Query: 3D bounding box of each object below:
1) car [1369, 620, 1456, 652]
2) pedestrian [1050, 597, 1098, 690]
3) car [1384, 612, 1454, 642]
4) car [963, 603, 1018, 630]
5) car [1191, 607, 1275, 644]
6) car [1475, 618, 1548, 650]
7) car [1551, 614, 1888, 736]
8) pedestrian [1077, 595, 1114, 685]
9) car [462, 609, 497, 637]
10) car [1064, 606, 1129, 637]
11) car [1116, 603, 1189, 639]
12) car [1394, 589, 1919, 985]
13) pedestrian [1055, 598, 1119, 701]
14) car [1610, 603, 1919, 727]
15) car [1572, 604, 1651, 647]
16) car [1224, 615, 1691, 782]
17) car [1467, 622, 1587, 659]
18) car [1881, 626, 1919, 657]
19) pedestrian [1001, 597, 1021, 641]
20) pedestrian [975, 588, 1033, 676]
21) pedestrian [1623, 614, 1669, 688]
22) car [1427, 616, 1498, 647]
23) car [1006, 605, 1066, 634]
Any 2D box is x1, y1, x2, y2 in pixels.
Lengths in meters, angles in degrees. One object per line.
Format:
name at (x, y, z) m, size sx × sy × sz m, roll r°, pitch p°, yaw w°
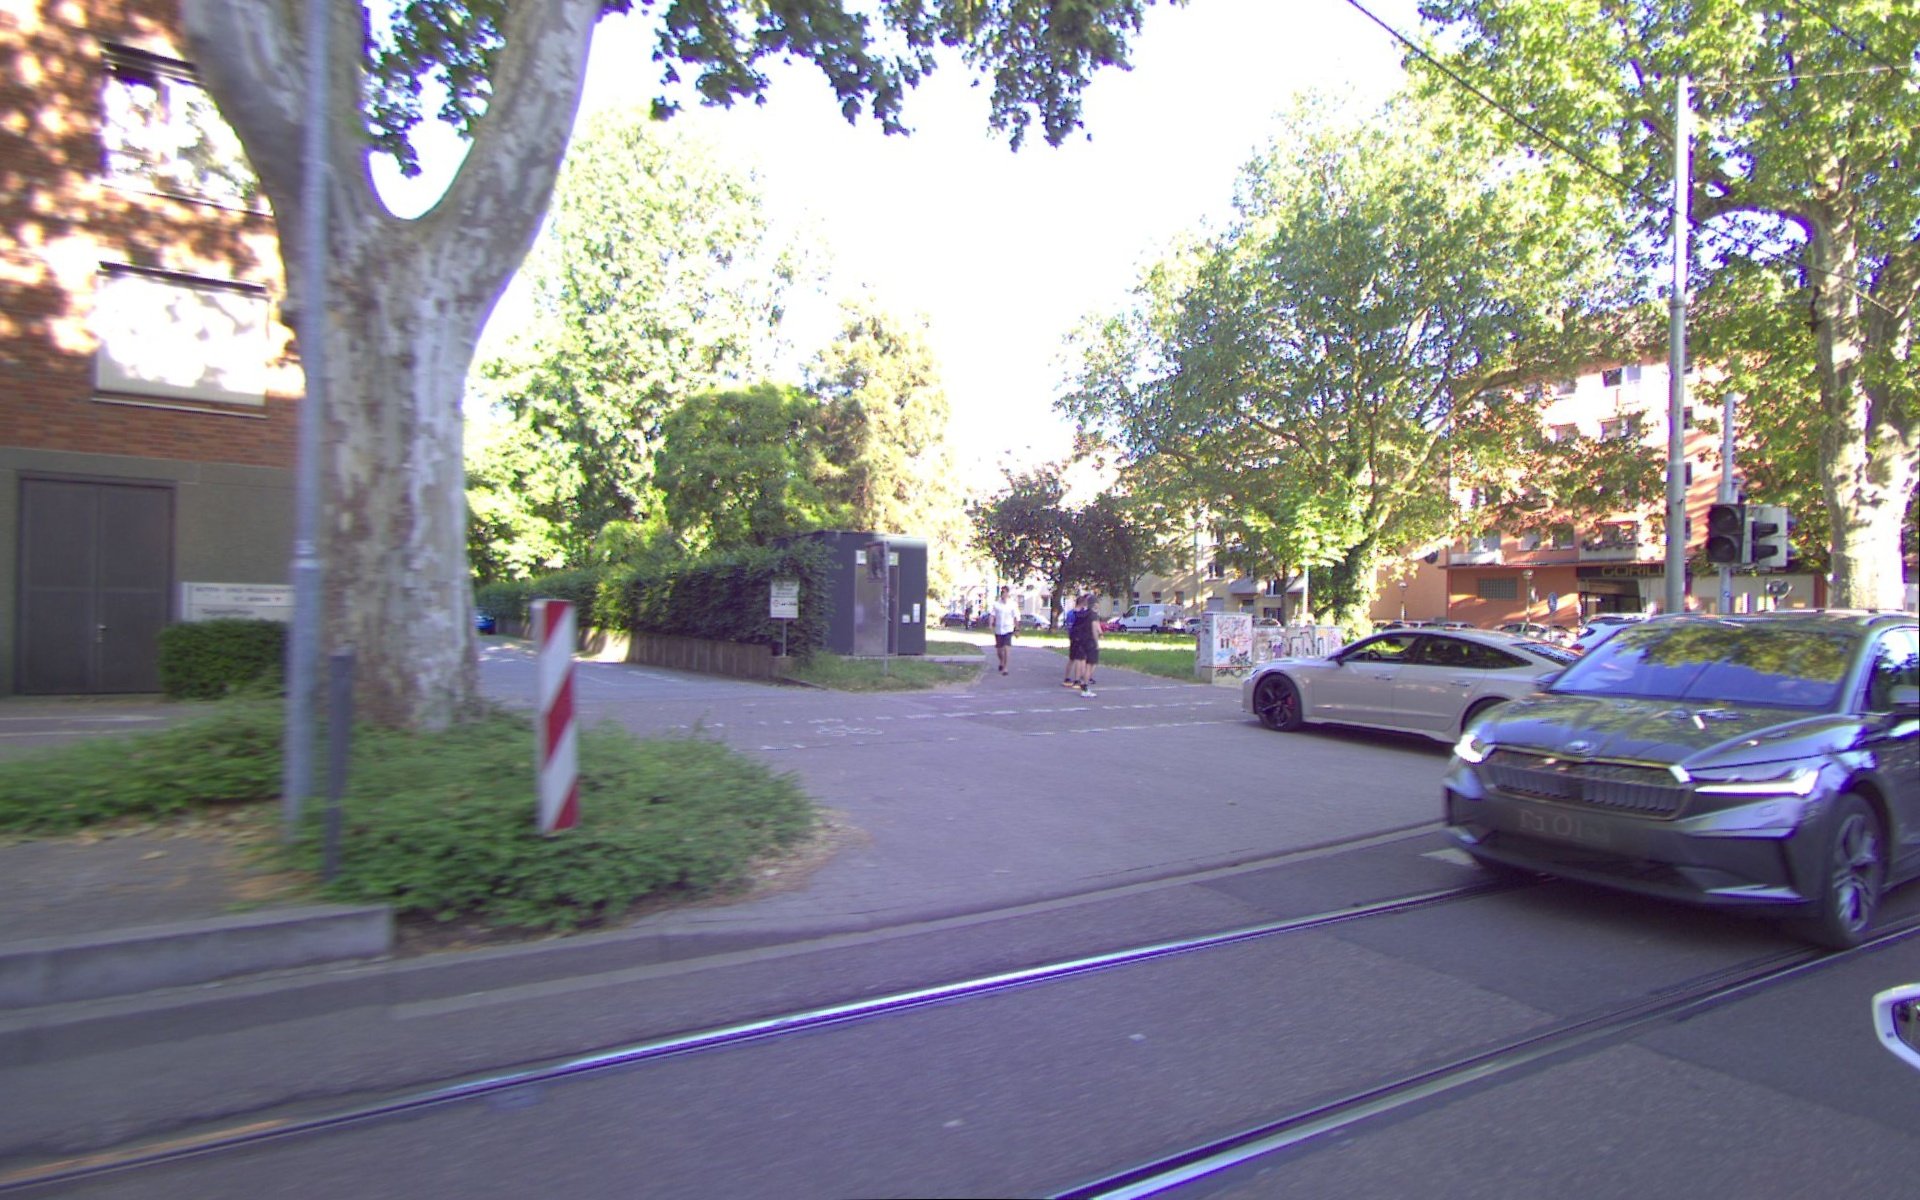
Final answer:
car at (22.879, 1.789, 50.901) m, size 1.672 × 1.469 × 3.682 m, roll 2°, pitch 0°, yaw -35°
pedestrian at (2.134, 0.799, 18.792) m, size 0.684 × 1.681 × 0.561 m, roll 2°, pitch 0°, yaw 33°
car at (27.026, 1.593, 59.126) m, size 4.445 × 1.639 × 1.929 m, roll 2°, pitch 0°, yaw -39°
car at (2.469, 1.349, 82.178) m, size 1.982 × 2.040 × 4.694 m, roll 2°, pitch 0°, yaw -37°
car at (16.425, 1.525, 60.656) m, size 1.980 × 2.040 × 4.698 m, roll 2°, pitch 0°, yaw -35°
car at (30.251, 1.846, 55.054) m, size 4.445 × 1.639 × 1.929 m, roll 2°, pitch 0°, yaw -39°
car at (12.555, 1.144, 16.886) m, size 1.881 × 1.668 × 4.116 m, roll 2°, pitch 0°, yaw -32°
pedestrian at (2.675, 0.783, 19.806) m, size 0.523 × 1.728 × 0.591 m, roll 2°, pitch 0°, yaw 28°
car at (-27.007, 1.277, 56.371) m, size 1.539 × 1.444 × 3.611 m, roll 2°, pitch 0°, yaw -29°
car at (9.747, 1.545, 72.171) m, size 1.979 × 2.040 × 4.701 m, roll 2°, pitch 0°, yaw -34°
car at (12.826, 1.371, 67.172) m, size 2.022 × 2.227 × 4.701 m, roll 2°, pitch 0°, yaw -34°
car at (4.838, 0.863, 6.156) m, size 4.271 × 1.659 × 1.899 m, roll 2°, pitch -2°, yaw -31°
pedestrian at (2.172, 0.832, 17.197) m, size 0.770 × 1.695 × 0.706 m, roll 1°, pitch 0°, yaw -31°
car at (14.657, 1.046, 18.105) m, size 1.917 × 1.858 × 4.546 m, roll 2°, pitch 0°, yaw -32°
car at (32.491, 1.264, 50.040) m, size 4.881 × 2.030 × 1.976 m, roll 2°, pitch 0°, yaw -40°
car at (5.682, 0.997, 12.148) m, size 1.935 × 1.480 × 4.735 m, roll 2°, pitch 0°, yaw -34°
car at (26.006, 1.822, 46.199) m, size 1.808 × 1.469 × 4.433 m, roll 2°, pitch 0°, yaw -38°
car at (46.919, 2.042, 48.966) m, size 3.848 × 1.426 × 1.938 m, roll 2°, pitch 0°, yaw -31°
pedestrian at (2.007, 0.755, 39.500) m, size 0.698 × 1.695 × 0.779 m, roll 2°, pitch 0°, yaw -2°
pedestrian at (0.901, 0.654, 20.702) m, size 0.902 × 1.760 × 0.842 m, roll 2°, pitch 0°, yaw -20°
pedestrian at (17.527, 1.287, 25.657) m, size 0.741 × 1.833 × 0.642 m, roll 1°, pitch 0°, yaw -25°
car at (28.630, 1.808, 57.148) m, size 4.445 × 1.639 × 1.929 m, roll 2°, pitch 0°, yaw -39°
car at (5.832, 1.474, 77.567) m, size 1.982 × 2.040 × 4.694 m, roll 2°, pitch 0°, yaw -37°
